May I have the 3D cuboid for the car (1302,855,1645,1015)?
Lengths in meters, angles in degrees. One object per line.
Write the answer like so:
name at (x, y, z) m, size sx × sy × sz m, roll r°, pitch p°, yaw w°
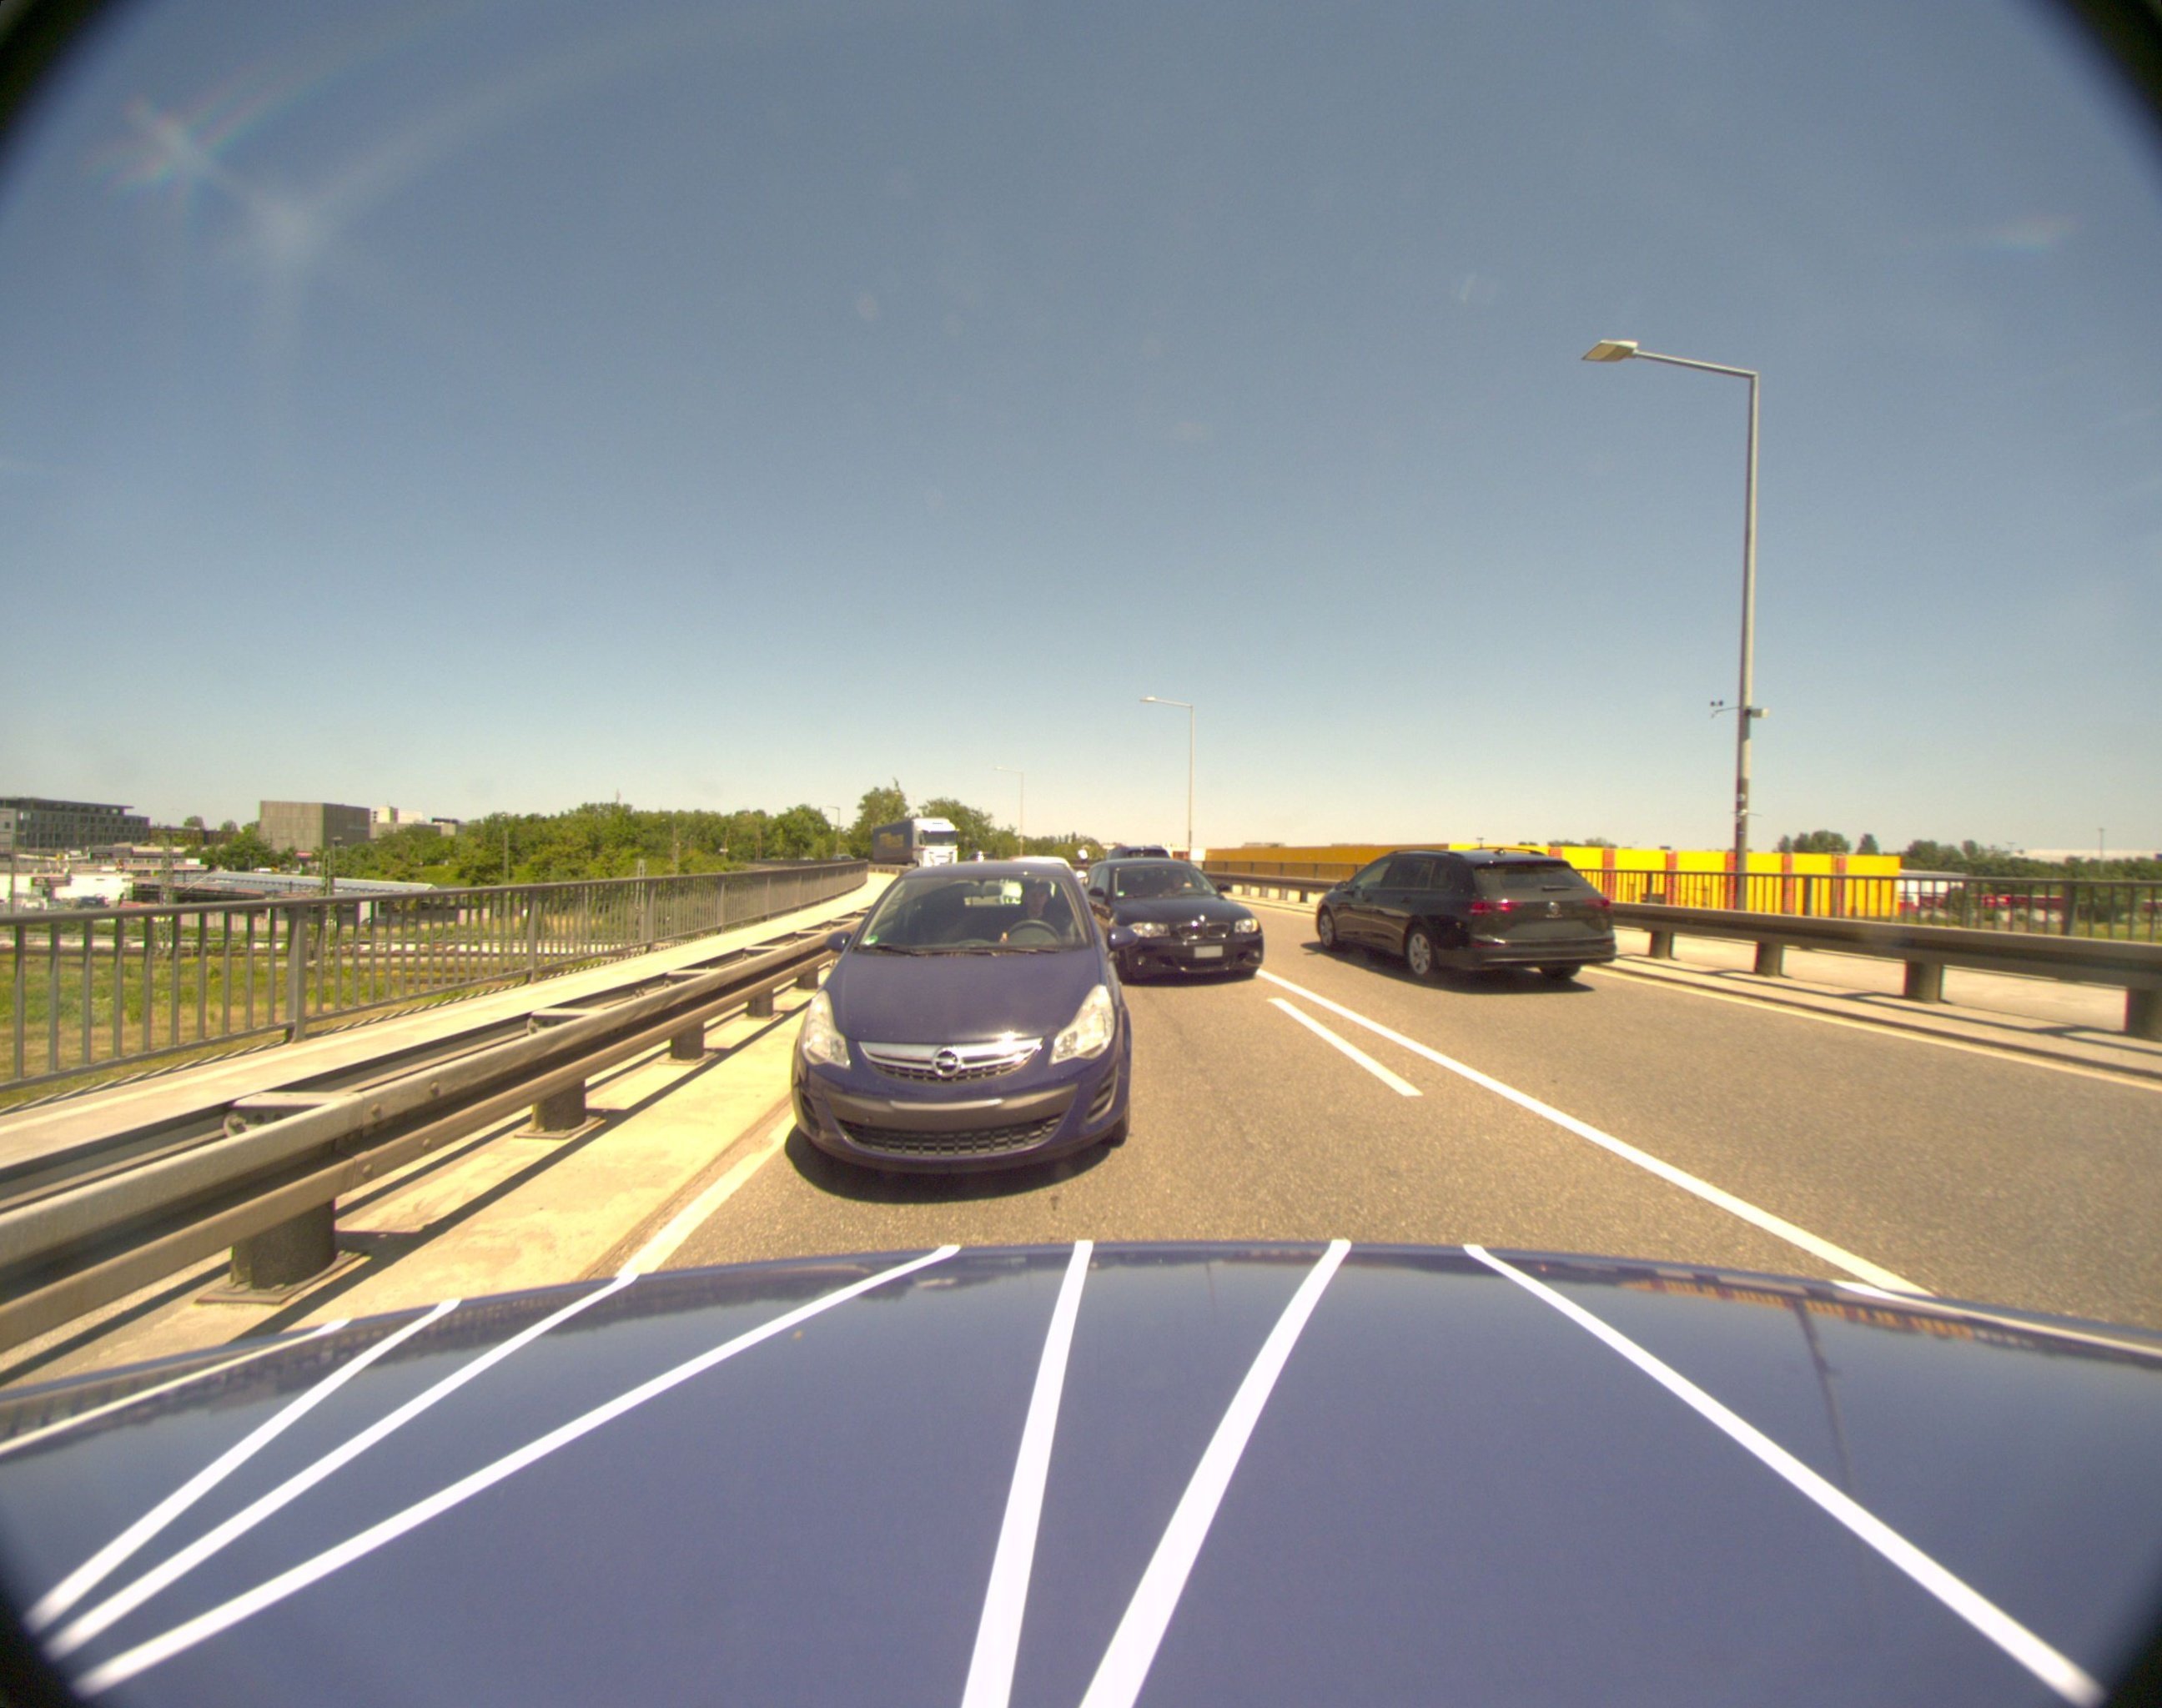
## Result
car at (4.391, 0.765, 9.443) m, size 1.715 × 1.460 × 4.458 m, roll -1°, pitch 0°, yaw -4°

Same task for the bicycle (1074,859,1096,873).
bicycle at (0.258, 0.741, 47.086) m, size 0.591 × 0.828 × 1.987 m, roll -1°, pitch 1°, yaw -24°

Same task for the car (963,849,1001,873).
car at (-7.353, 0.473, 56.218) m, size 1.714 × 1.617 × 4.244 m, roll -3°, pitch 2°, yaw -22°

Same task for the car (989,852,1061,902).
car at (-1.961, 0.701, 25.360) m, size 1.796 × 1.446 × 4.518 m, roll -2°, pitch 0°, yaw -11°

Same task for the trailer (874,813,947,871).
trailer at (-14.099, -0.929, 61.667) m, size 2.706 × 4.211 × 12.684 m, roll -3°, pitch 2°, yaw -26°

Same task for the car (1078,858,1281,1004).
car at (1.072, 0.838, 10.459) m, size 1.795 × 1.447 × 4.520 m, roll -1°, pitch 1°, yaw -5°

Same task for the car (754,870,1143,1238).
car at (-0.686, 0.908, 5.323) m, size 1.645 × 1.431 × 3.998 m, roll -2°, pitch 1°, yaw -4°

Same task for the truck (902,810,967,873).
truck at (-10.641, -0.913, 54.753) m, size 2.700 × 4.205 × 6.824 m, roll -3°, pitch 2°, yaw -27°

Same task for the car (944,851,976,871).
car at (-10.879, 0.606, 68.163) m, size 1.809 × 1.631 × 4.292 m, roll -1°, pitch 1°, yaw -23°

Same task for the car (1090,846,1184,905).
car at (1.673, 0.613, 24.455) m, size 1.972 × 1.663 × 4.609 m, roll -1°, pitch 0°, yaw -9°

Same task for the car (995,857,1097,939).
car at (-0.907, 0.832, 16.612) m, size 1.795 × 1.447 × 4.519 m, roll -2°, pitch 1°, yaw -7°

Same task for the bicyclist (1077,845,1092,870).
bicyclist at (0.237, 0.190, 47.100) m, size 0.586 × 1.512 × 0.894 m, roll -2°, pitch 1°, yaw -25°
